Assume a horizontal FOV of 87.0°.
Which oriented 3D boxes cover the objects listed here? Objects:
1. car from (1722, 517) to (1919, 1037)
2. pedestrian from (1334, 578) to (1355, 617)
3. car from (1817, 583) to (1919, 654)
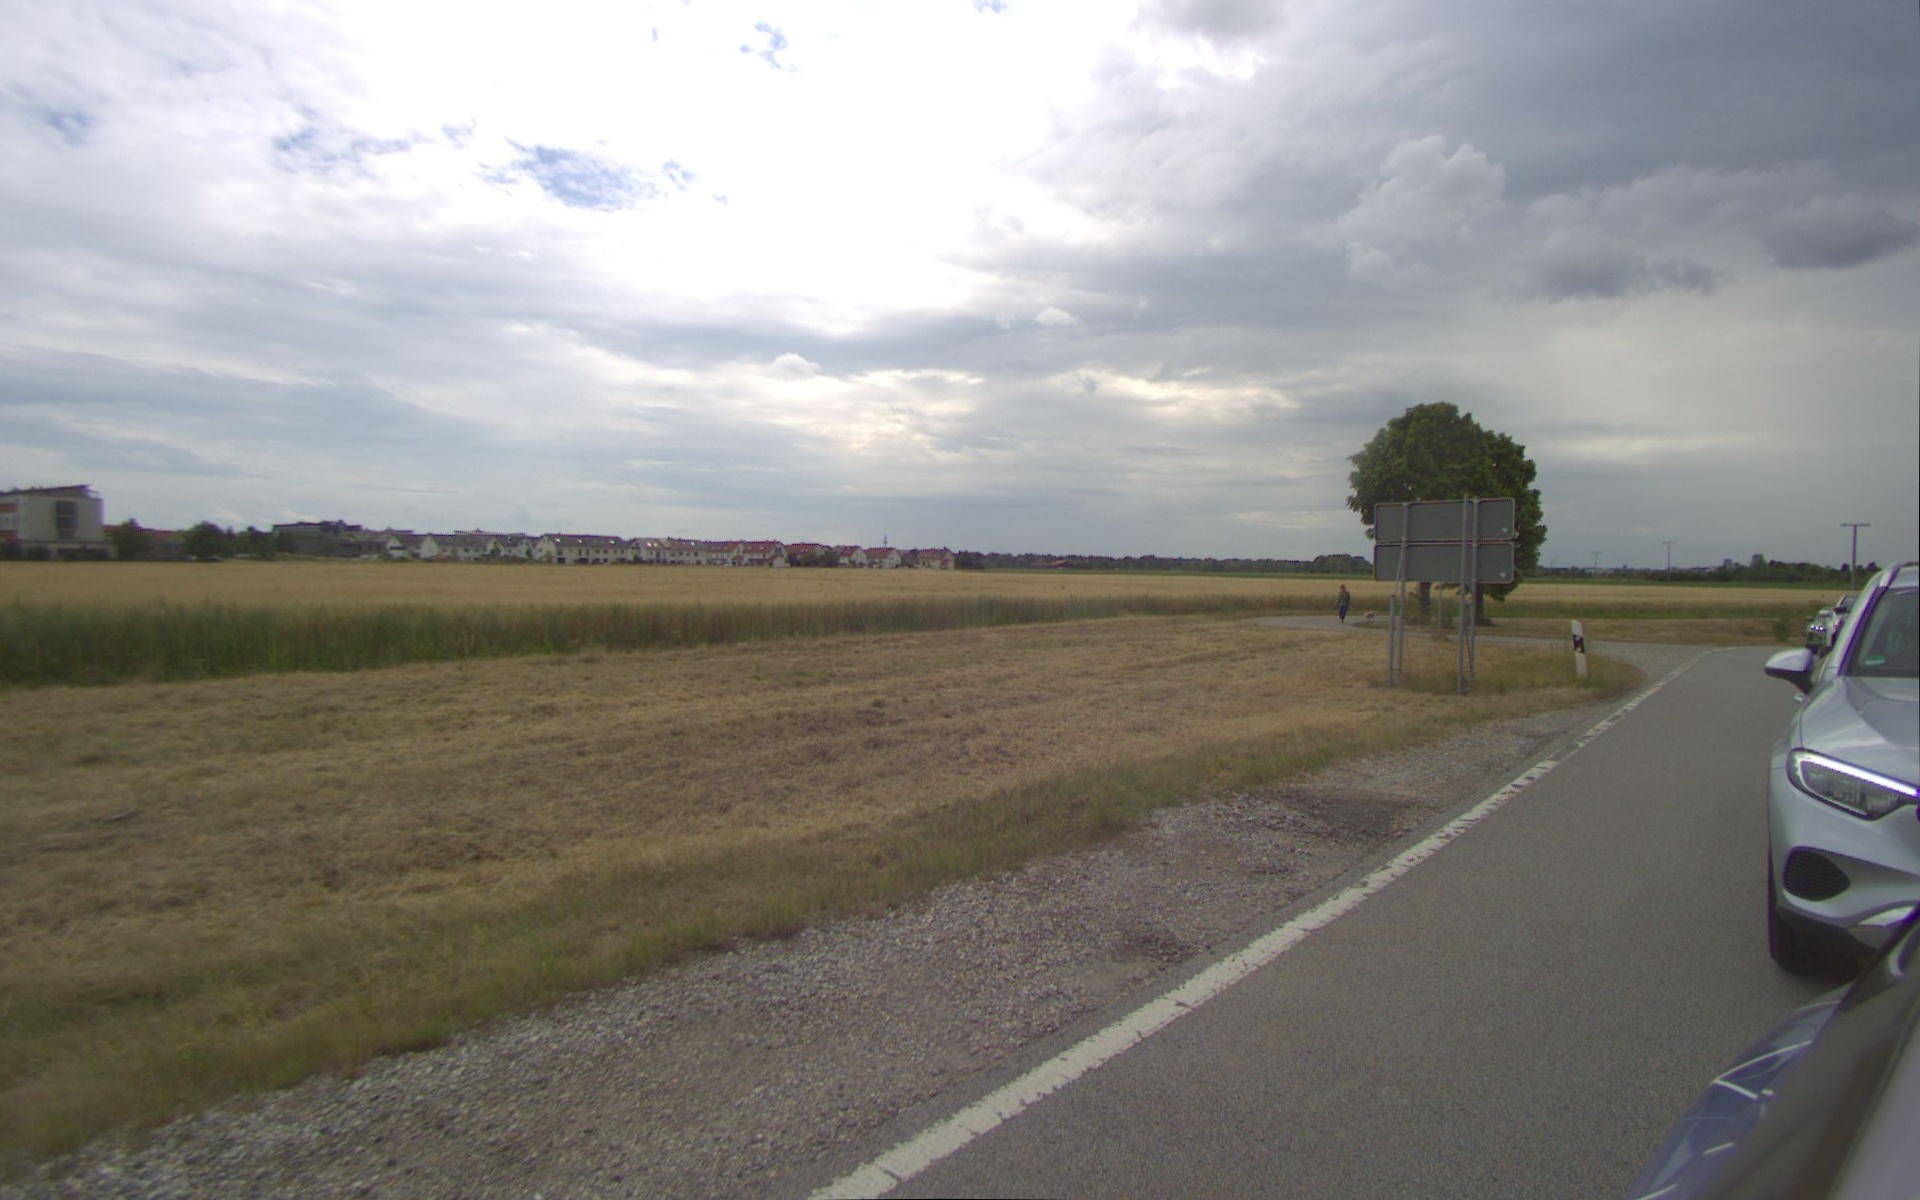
[{"bbox_3d":[4.801,0.505,4.344,1.990,1.606,4.326,0,1,43],"label":"car"},{"bbox_3d":[16.264,-0.112,42.756,0.765,1.631,0.938,2,2,23],"label":"pedestrian"},{"bbox_3d":[21.762,0.376,24.364,1.714,1.513,4.571,-1,1,40],"label":"car"}]
